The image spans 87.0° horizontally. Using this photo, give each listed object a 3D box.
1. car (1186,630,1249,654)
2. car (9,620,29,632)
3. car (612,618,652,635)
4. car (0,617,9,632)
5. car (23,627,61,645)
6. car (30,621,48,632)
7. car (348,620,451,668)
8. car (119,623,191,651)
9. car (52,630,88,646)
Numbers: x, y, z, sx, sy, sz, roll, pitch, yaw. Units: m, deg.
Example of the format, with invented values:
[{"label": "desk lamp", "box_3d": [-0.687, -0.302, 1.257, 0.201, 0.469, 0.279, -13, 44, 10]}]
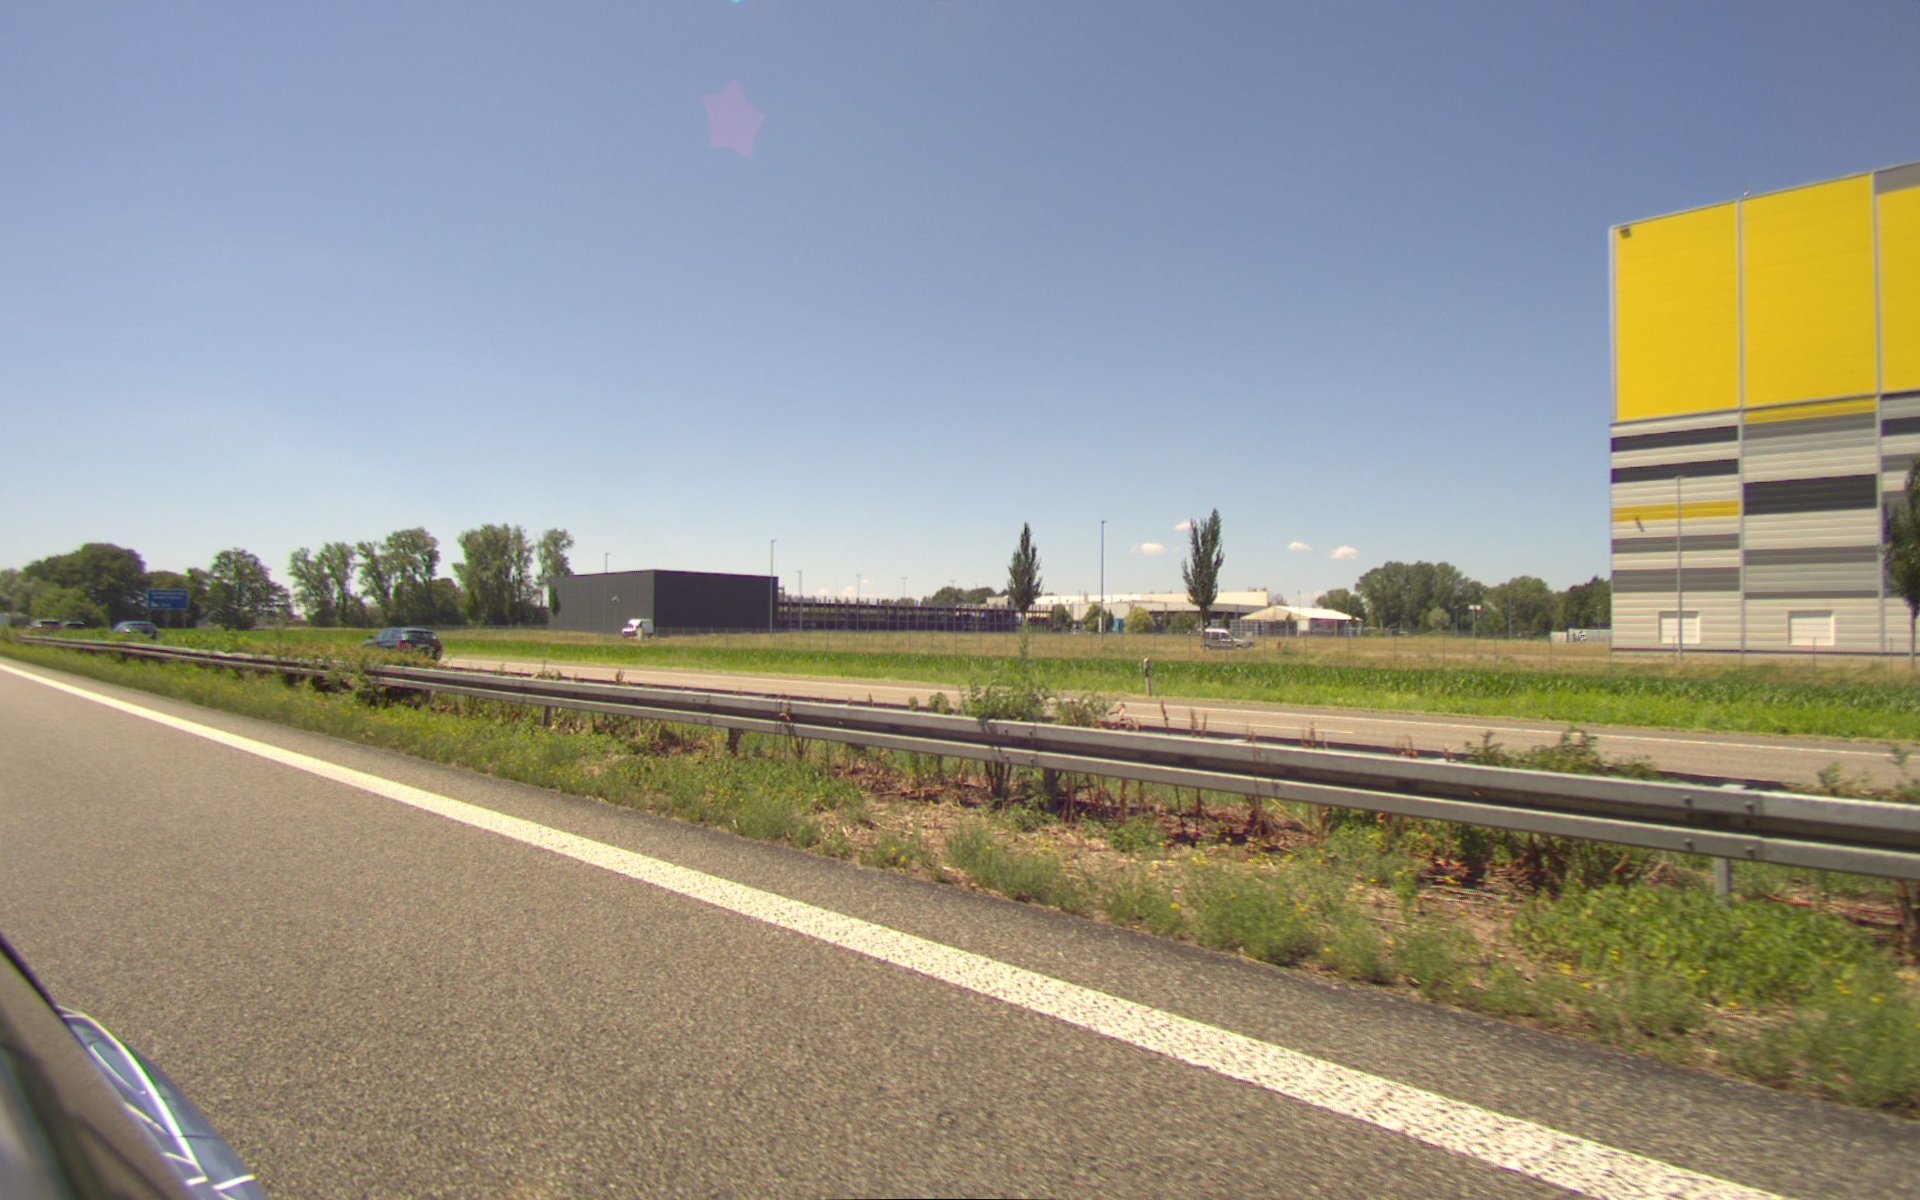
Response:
[{"label": "car", "box_3d": [19.321, 3.113, 76.160, 4.267, 1.750, 1.808, -1, -3, 41]}, {"label": "car", "box_3d": [-163.820, 4.559, 176.116, 5.108, 2.069, 2.045, -1, -3, 42]}, {"label": "car", "box_3d": [-45.500, 3.698, 140.167, 6.079, 2.265, 2.526, -1, -3, 41]}, {"label": "car", "box_3d": [-141.496, 3.584, 148.774, 5.108, 2.069, 2.045, -1, -3, 42]}, {"label": "car", "box_3d": [-72.646, 2.857, 80.079, 4.367, 1.362, 1.706, -1, -3, 42]}, {"label": "car", "box_3d": [-179.711, 5.225, 197.396, 5.108, 2.069, 2.045, -1, -3, 42]}, {"label": "car", "box_3d": [-22.113, 1.705, 39.848, 4.908, 1.759, 1.993, -1, -3, 42]}, {"label": "car", "box_3d": [-41.190, 1.853, 51.731, 5.108, 1.362, 2.045, -1, -3, 42]}, {"label": "car", "box_3d": [-88.295, 3.778, 100.412, 5.108, 1.540, 2.045, -1, -3, 42]}]
